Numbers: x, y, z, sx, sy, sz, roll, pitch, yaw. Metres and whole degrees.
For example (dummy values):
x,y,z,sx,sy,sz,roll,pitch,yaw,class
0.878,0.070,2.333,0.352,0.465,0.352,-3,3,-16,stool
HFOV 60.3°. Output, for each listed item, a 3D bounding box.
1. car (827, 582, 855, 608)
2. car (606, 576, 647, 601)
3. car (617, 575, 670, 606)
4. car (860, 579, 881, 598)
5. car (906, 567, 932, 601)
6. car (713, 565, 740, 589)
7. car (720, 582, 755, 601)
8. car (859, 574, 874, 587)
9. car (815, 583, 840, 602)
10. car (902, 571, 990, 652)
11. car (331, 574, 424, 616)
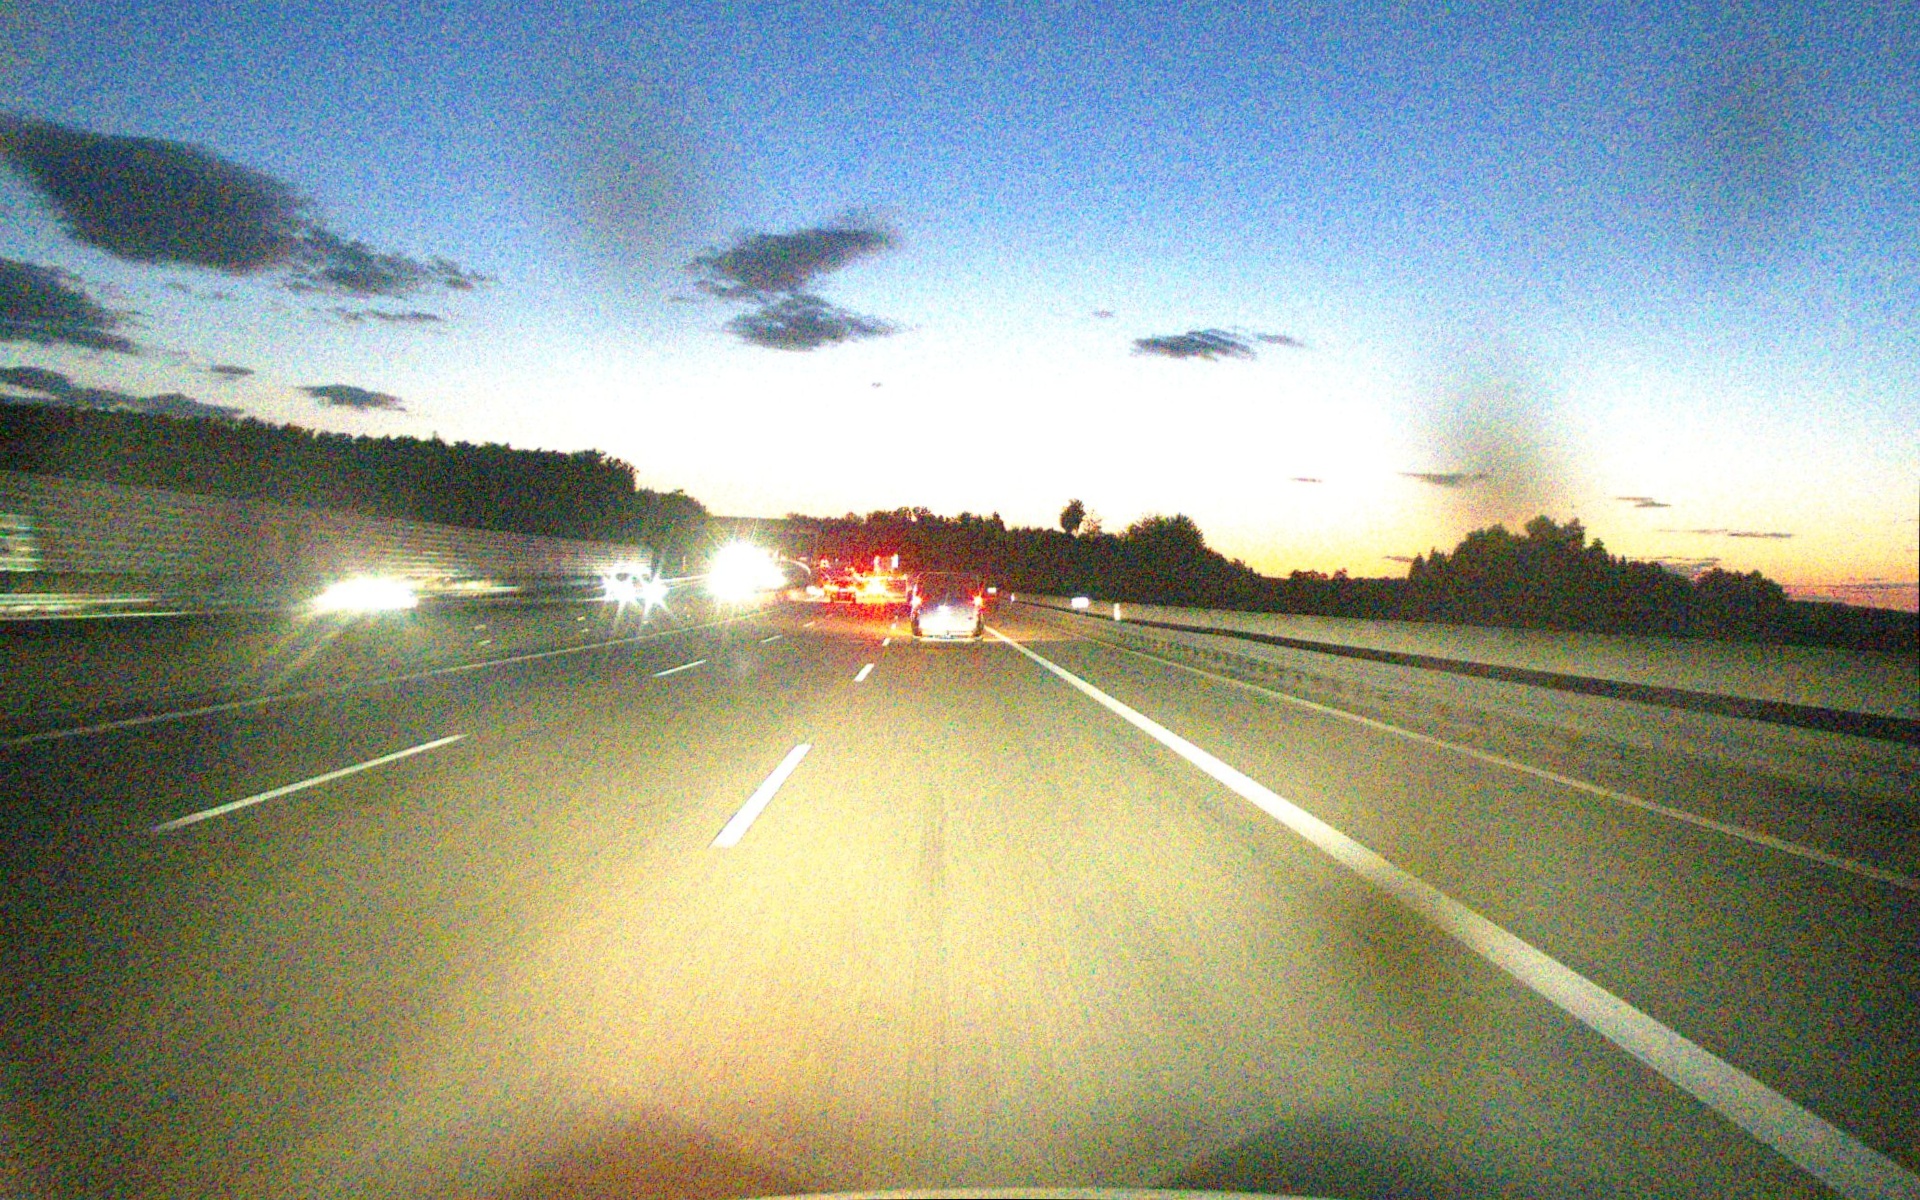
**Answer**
x,y,z,sx,sy,sz,roll,pitch,yaw,class
-8.703,-0.334,121.127,1.954,1.847,3.997,1,0,-4,car
-25.061,-0.845,124.466,2.012,1.813,5.939,1,0,-2,car
-17.572,-0.530,92.098,2.076,1.583,5.107,1,0,-2,car
-8.591,-1.099,159.362,1.953,1.825,3.998,1,0,-2,car
-3.346,-1.342,136.816,1.991,2.693,5.725,1,1,0,car
-31.736,-3.126,224.909,2.598,3.139,8.213,1,2,-2,car
-19.497,-0.763,145.059,2.508,1.583,5.107,1,0,-2,car
-13.694,-2.812,241.948,1.952,1.825,4.000,1,0,1,car
-12.645,-0.737,157.832,2.128,1.696,4.884,1,0,-3,car
-0.466,0.246,46.034,2.074,2.035,5.660,1,1,-4,car
-23.528,-0.204,67.018,2.076,1.583,5.107,1,0,-2,car
